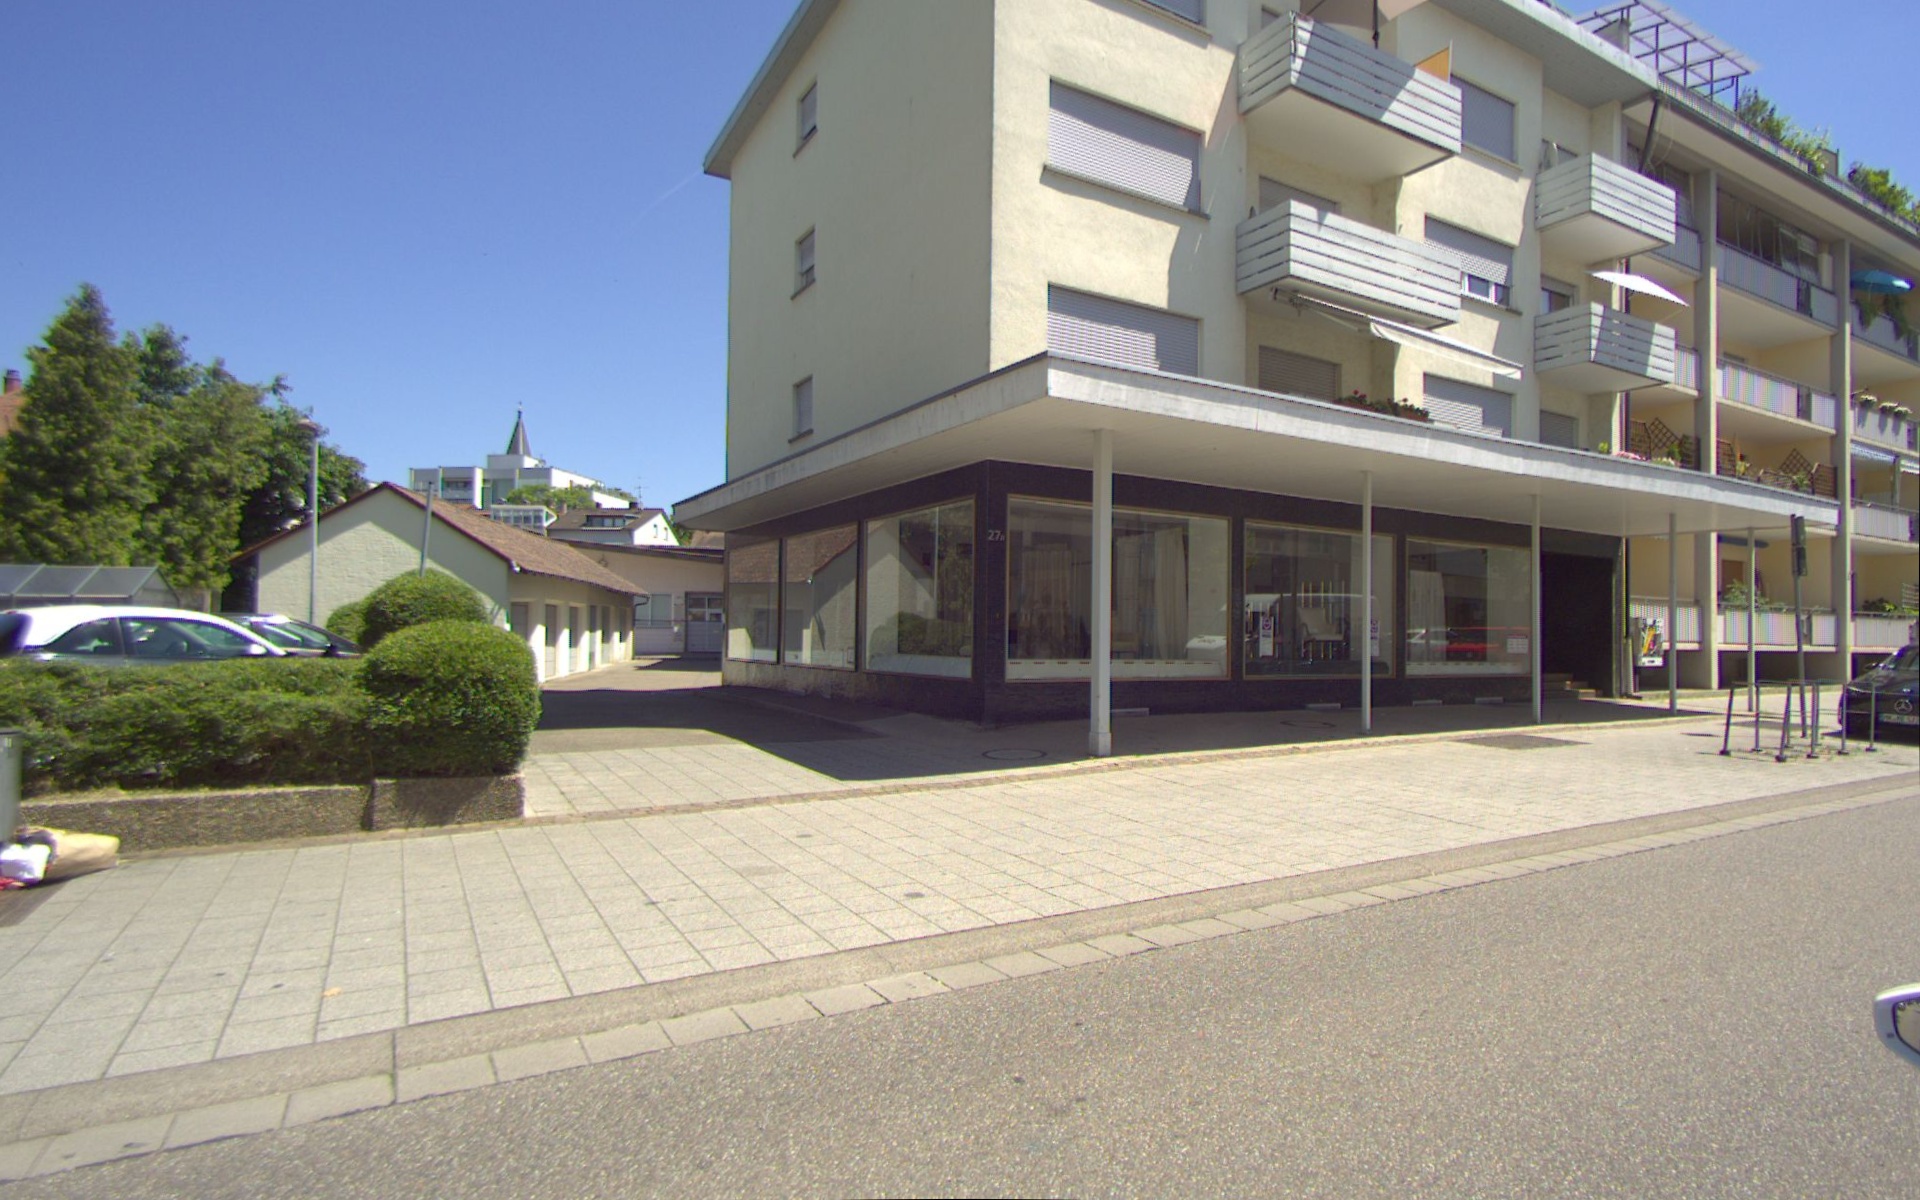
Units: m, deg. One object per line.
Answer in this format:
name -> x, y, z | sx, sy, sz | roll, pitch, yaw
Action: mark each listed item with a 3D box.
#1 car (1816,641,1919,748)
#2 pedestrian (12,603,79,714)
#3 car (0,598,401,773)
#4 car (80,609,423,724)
car -> 15.406, 1.404, 15.470 | 4.990, 1.436, 1.886 | 2, 0, -31
pedestrian -> -14.111, 0.885, 15.499 | 0.713, 1.648, 0.676 | 2, -2, -44
car -> -8.310, 0.788, 10.440 | 1.863, 1.506, 3.989 | 0, -2, 29
car -> -10.411, 0.940, 14.982 | 1.726, 1.481, 3.908 | -2, -3, 42
